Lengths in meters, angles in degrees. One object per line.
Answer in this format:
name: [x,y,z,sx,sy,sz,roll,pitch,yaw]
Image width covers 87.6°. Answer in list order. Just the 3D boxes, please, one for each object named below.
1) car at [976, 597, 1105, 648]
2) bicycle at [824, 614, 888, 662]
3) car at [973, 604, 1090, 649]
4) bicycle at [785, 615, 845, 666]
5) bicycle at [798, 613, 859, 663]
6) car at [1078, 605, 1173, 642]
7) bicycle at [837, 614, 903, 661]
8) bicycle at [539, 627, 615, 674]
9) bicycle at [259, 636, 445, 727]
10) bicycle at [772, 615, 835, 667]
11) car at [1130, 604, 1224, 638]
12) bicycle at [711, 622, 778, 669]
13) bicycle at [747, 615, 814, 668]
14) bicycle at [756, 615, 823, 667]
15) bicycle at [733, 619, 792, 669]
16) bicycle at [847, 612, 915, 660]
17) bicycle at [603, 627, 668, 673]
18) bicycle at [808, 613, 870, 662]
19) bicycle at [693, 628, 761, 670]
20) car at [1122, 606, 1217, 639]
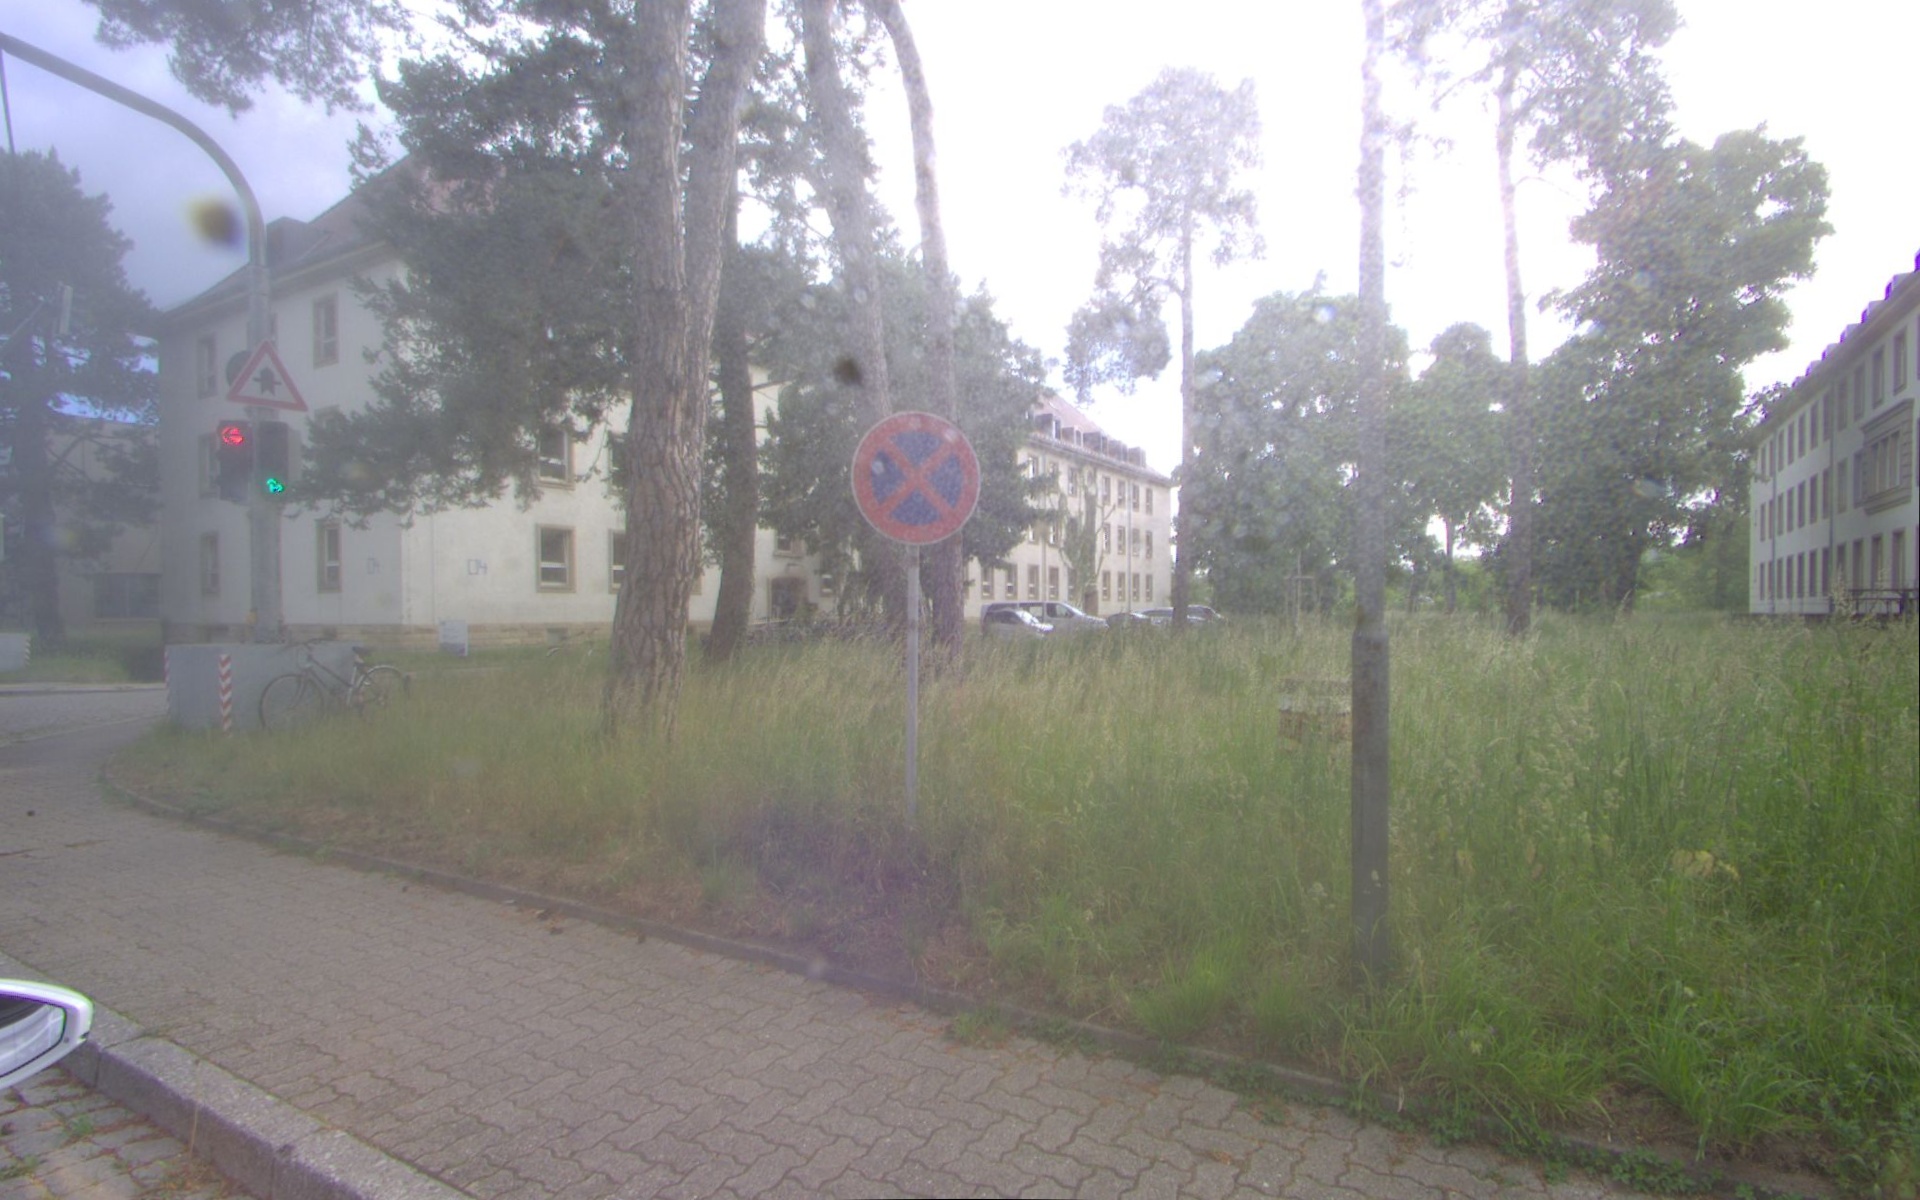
car: [3.244,0.883,40.106,4.774,1.935,2.237,0,0,17]
bicycle: [-2.988,1.063,28.726,1.989,1.337,0.538,0,0,37]
car: [2.592,0.944,36.557,3.877,1.550,1.852,0,0,34]
bicycle: [-3.967,1.093,27.331,1.893,1.337,0.390,0,0,37]
bicycle: [-3.665,1.030,27.767,1.829,1.337,0.553,0,0,37]
car: [7.750,1.091,47.001,3.943,1.639,1.989,0,-1,33]
bicycle: [-2.637,1.078,29.175,2.104,1.337,0.553,0,0,37]
bicycle: [-8.542,1.112,22.364,0.522,0.993,1.618,0,0,31]
bicycle: [-6.664,0.857,11.062,0.564,0.886,1.697,0,0,32]
bicycle: [-4.225,1.083,26.962,1.895,1.337,0.504,0,0,37]
car: [11.862,1.127,54.826,4.629,1.796,1.989,0,0,33]
bicycle: [-5.407,1.123,25.061,1.877,1.116,0.539,0,0,37]
bicycle: [-4.649,1.047,25.863,2.021,1.337,0.436,0,0,37]
bicycle: [-4.514,1.065,26.449,1.950,1.337,0.574,0,0,37]
bicycle: [-5.045,1.095,25.516,1.618,1.231,0.539,0,0,37]
bicycle: [-2.367,1.054,29.843,2.075,1.385,0.755,0,0,37]
bicycle: [-7.740,1.174,23.933,0.535,1.028,1.534,0,0,31]
bicycle: [-3.433,1.046,28.340,1.913,1.337,0.551,0,0,37]
bicycle: [-5.704,1.175,24.478,1.877,0.961,0.539,0,0,37]
car: [10.804,1.155,51.724,4.452,1.639,1.989,0,-1,33]
